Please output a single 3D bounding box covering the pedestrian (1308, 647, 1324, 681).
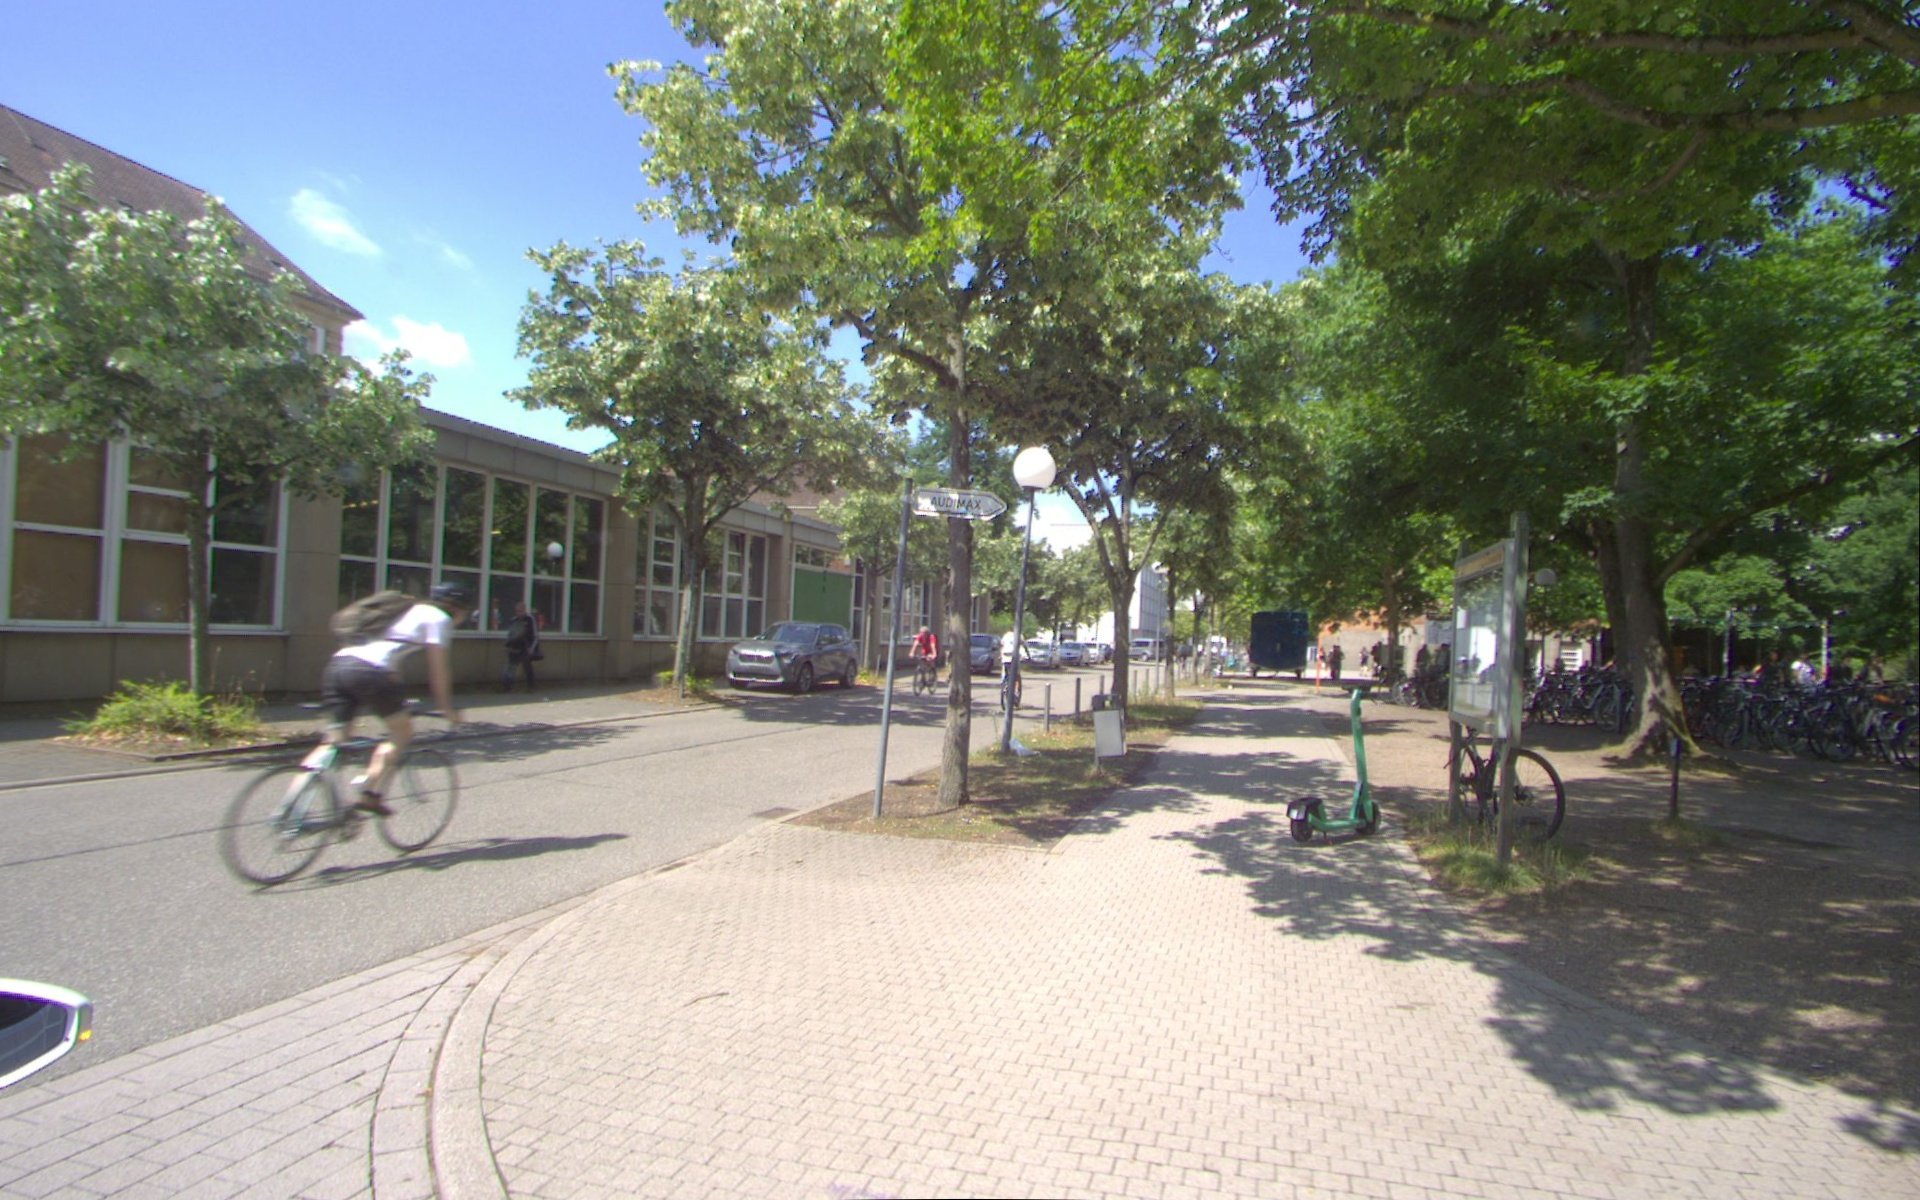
[{"bbox_3d":[18.214,3.274,51.250,0.687,1.682,0.787,1,-2,18],"label":"pedestrian"}]

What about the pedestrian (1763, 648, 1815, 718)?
[{"bbox_3d":[22.155,2.215,26.767,0.730,1.798,0.720,2,0,-8],"label":"pedestrian"}]

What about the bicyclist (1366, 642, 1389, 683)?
[{"bbox_3d":[18.264,2.737,43.831,0.521,1.751,1.079,1,-1,-3],"label":"bicyclist"}]

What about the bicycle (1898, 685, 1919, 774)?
[{"bbox_3d":[13.781,1.797,13.807,1.813,1.185,0.345,3,-1,-17],"label":"bicycle"}]

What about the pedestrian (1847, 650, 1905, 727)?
[{"bbox_3d":[22.143,2.121,24.223,0.730,1.798,0.721,2,0,10],"label":"pedestrian"}]

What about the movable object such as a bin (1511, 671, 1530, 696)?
[{"bbox_3d":[24.775,3.687,44.286,0.590,1.084,0.742,2,-3,18],"label":"movable object such as a bin"}]

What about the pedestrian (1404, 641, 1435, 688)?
[{"bbox_3d":[19.753,2.756,43.067,0.819,1.974,1.079,1,-1,-3],"label":"pedestrian"}]

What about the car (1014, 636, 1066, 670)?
[{"bbox_3d":[4.084,2.685,50.717,1.699,1.475,4.581,4,-2,16],"label":"car"}]

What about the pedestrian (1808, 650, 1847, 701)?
[{"bbox_3d":[27.813,2.407,32.101,0.656,1.602,0.718,-1,-1,13],"label":"pedestrian"}]

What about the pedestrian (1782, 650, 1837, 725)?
[{"bbox_3d":[21.155,2.155,24.948,0.730,1.798,0.721,2,0,10],"label":"pedestrian"}]

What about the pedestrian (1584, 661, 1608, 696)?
[{"bbox_3d":[25.251,3.113,39.764,0.560,1.364,0.729,-1,-1,13],"label":"pedestrian"}]

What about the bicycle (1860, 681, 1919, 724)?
[{"bbox_3d":[24.459,2.669,26.045,1.749,1.052,0.479,2,-2,-4],"label":"bicycle"}]

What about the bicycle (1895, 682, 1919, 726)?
[{"bbox_3d":[24.568,2.631,25.151,1.797,1.052,0.479,2,-2,-4],"label":"bicycle"}]

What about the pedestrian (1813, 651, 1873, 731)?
[{"bbox_3d":[20.520,2.098,23.270,0.731,1.798,0.720,2,-1,-13],"label":"pedestrian"}]

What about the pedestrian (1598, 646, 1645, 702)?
[{"bbox_3d":[22.044,2.457,33.388,0.943,1.798,0.919,2,-1,10],"label":"pedestrian"}]

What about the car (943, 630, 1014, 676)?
[{"bbox_3d":[0.808,2.088,39.737,1.730,1.576,4.111,4,-2,16],"label":"car"}]

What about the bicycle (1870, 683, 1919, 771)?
[{"bbox_3d":[13.773,1.803,14.192,1.813,1.185,0.402,3,-1,-17],"label":"bicycle"}]

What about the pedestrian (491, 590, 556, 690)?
[{"bbox_3d":[-8.270,0.750,18.994,0.776,1.810,0.669,4,0,19],"label":"pedestrian"}]

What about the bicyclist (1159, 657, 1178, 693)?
[{"bbox_3d":[10.889,3.913,52.324,0.796,1.778,0.692,3,-2,19],"label":"bicyclist"}]

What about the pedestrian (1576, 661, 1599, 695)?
[{"bbox_3d":[25.414,3.151,40.585,0.560,1.364,0.729,-1,-1,13],"label":"pedestrian"}]

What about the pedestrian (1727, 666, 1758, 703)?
[{"bbox_3d":[28.116,3.029,35.990,0.656,1.287,0.622,-1,-1,13],"label":"pedestrian"}]

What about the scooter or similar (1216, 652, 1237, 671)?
[{"bbox_3d":[18.329,4.212,68.818,0.644,1.281,1.254,3,-2,-40],"label":"scooter or similar"}]

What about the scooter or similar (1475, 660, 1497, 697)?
[{"bbox_3d":[18.181,2.702,34.629,0.418,1.234,1.293,2,-2,18],"label":"scooter or similar"}]

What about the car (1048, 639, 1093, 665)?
[{"bbox_3d":[6.500,3.031,58.470,1.700,1.360,4.160,4,-1,19],"label":"car"}]

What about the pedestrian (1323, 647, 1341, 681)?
[{"bbox_3d":[18.950,3.265,51.041,0.754,1.682,0.823,1,-2,18],"label":"pedestrian"}]

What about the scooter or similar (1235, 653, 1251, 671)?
[{"bbox_3d":[18.923,4.152,66.990,0.641,1.175,1.259,1,-2,33],"label":"scooter or similar"}]

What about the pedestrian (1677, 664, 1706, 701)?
[{"bbox_3d":[27.652,3.096,37.864,0.656,1.364,0.719,-1,-1,13],"label":"pedestrian"}]

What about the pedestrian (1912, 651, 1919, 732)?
[{"bbox_3d":[21.924,2.047,22.043,0.945,1.798,0.972,2,-1,-4],"label":"pedestrian"}]

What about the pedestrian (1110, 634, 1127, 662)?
[{"bbox_3d":[11.838,3.577,74.868,0.840,1.887,1.111,-4,6,-24],"label":"pedestrian"}]

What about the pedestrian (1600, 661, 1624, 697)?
[{"bbox_3d":[25.805,3.114,39.626,0.560,1.364,0.729,-1,-1,13],"label":"pedestrian"}]

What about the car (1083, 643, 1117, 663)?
[{"bbox_3d":[9.885,3.733,70.430,1.621,1.317,3.923,2,-2,18],"label":"car"}]

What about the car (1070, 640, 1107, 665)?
[{"bbox_3d":[8.303,3.366,64.436,1.637,1.429,3.804,4,-1,17],"label":"car"}]

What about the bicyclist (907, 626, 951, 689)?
[{"bbox_3d":[-0.790,1.462,25.660,0.823,1.562,0.958,1,-2,19],"label":"bicyclist"}]

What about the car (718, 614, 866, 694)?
[{"bbox_3d":[-4.011,1.314,24.755,1.794,1.653,4.515,4,-2,15],"label":"car"}]

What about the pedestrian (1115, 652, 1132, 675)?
[{"bbox_3d":[11.789,4.564,72.235,0.837,1.615,0.827,2,-1,-25],"label":"pedestrian"}]

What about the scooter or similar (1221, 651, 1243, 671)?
[{"bbox_3d":[18.873,4.239,69.493,0.633,1.281,1.254,3,-2,-40],"label":"scooter or similar"}]

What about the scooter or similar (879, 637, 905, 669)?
[{"bbox_3d":[-2.628,2.062,38.716,0.498,1.184,1.214,4,-1,18],"label":"scooter or similar"}]

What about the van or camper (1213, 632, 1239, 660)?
[{"bbox_3d":[25.249,4.421,94.918,1.965,2.476,4.564,1,-3,20],"label":"van or camper"}]

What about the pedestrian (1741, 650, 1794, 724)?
[{"bbox_3d":[20.214,2.167,25.092,0.730,1.798,0.721,2,0,10],"label":"pedestrian"}]

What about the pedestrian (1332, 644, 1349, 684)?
[{"bbox_3d":[15.748,2.655,41.464,0.560,1.590,0.927,1,-4,17],"label":"pedestrian"}]

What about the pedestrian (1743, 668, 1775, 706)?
[{"bbox_3d":[28.030,3.051,35.120,0.656,1.287,0.622,-1,-1,13],"label":"pedestrian"}]

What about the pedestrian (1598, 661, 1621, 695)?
[{"bbox_3d":[26.190,3.139,40.389,0.560,1.364,0.729,-1,-1,13],"label":"pedestrian"}]

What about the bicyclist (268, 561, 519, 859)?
[{"bbox_3d":[-3.585,0.660,6.423,0.706,1.683,1.094,5,-1,19],"label":"bicyclist"}]

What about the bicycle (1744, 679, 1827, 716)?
[{"bbox_3d":[24.106,2.830,29.252,1.922,0.991,0.613,2,-2,-1],"label":"bicycle"}]

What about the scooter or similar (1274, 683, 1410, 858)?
[{"bbox_3d":[2.908,1.228,7.565,0.492,1.129,1.351,1,0,42],"label":"scooter or similar"}]

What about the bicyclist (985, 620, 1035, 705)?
[{"bbox_3d":[1.110,1.376,22.134,0.759,1.778,0.847,5,-1,19],"label":"bicyclist"}]

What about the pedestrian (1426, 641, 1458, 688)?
[{"bbox_3d":[20.737,2.779,43.114,0.819,1.974,1.079,1,-1,-3],"label":"pedestrian"}]
